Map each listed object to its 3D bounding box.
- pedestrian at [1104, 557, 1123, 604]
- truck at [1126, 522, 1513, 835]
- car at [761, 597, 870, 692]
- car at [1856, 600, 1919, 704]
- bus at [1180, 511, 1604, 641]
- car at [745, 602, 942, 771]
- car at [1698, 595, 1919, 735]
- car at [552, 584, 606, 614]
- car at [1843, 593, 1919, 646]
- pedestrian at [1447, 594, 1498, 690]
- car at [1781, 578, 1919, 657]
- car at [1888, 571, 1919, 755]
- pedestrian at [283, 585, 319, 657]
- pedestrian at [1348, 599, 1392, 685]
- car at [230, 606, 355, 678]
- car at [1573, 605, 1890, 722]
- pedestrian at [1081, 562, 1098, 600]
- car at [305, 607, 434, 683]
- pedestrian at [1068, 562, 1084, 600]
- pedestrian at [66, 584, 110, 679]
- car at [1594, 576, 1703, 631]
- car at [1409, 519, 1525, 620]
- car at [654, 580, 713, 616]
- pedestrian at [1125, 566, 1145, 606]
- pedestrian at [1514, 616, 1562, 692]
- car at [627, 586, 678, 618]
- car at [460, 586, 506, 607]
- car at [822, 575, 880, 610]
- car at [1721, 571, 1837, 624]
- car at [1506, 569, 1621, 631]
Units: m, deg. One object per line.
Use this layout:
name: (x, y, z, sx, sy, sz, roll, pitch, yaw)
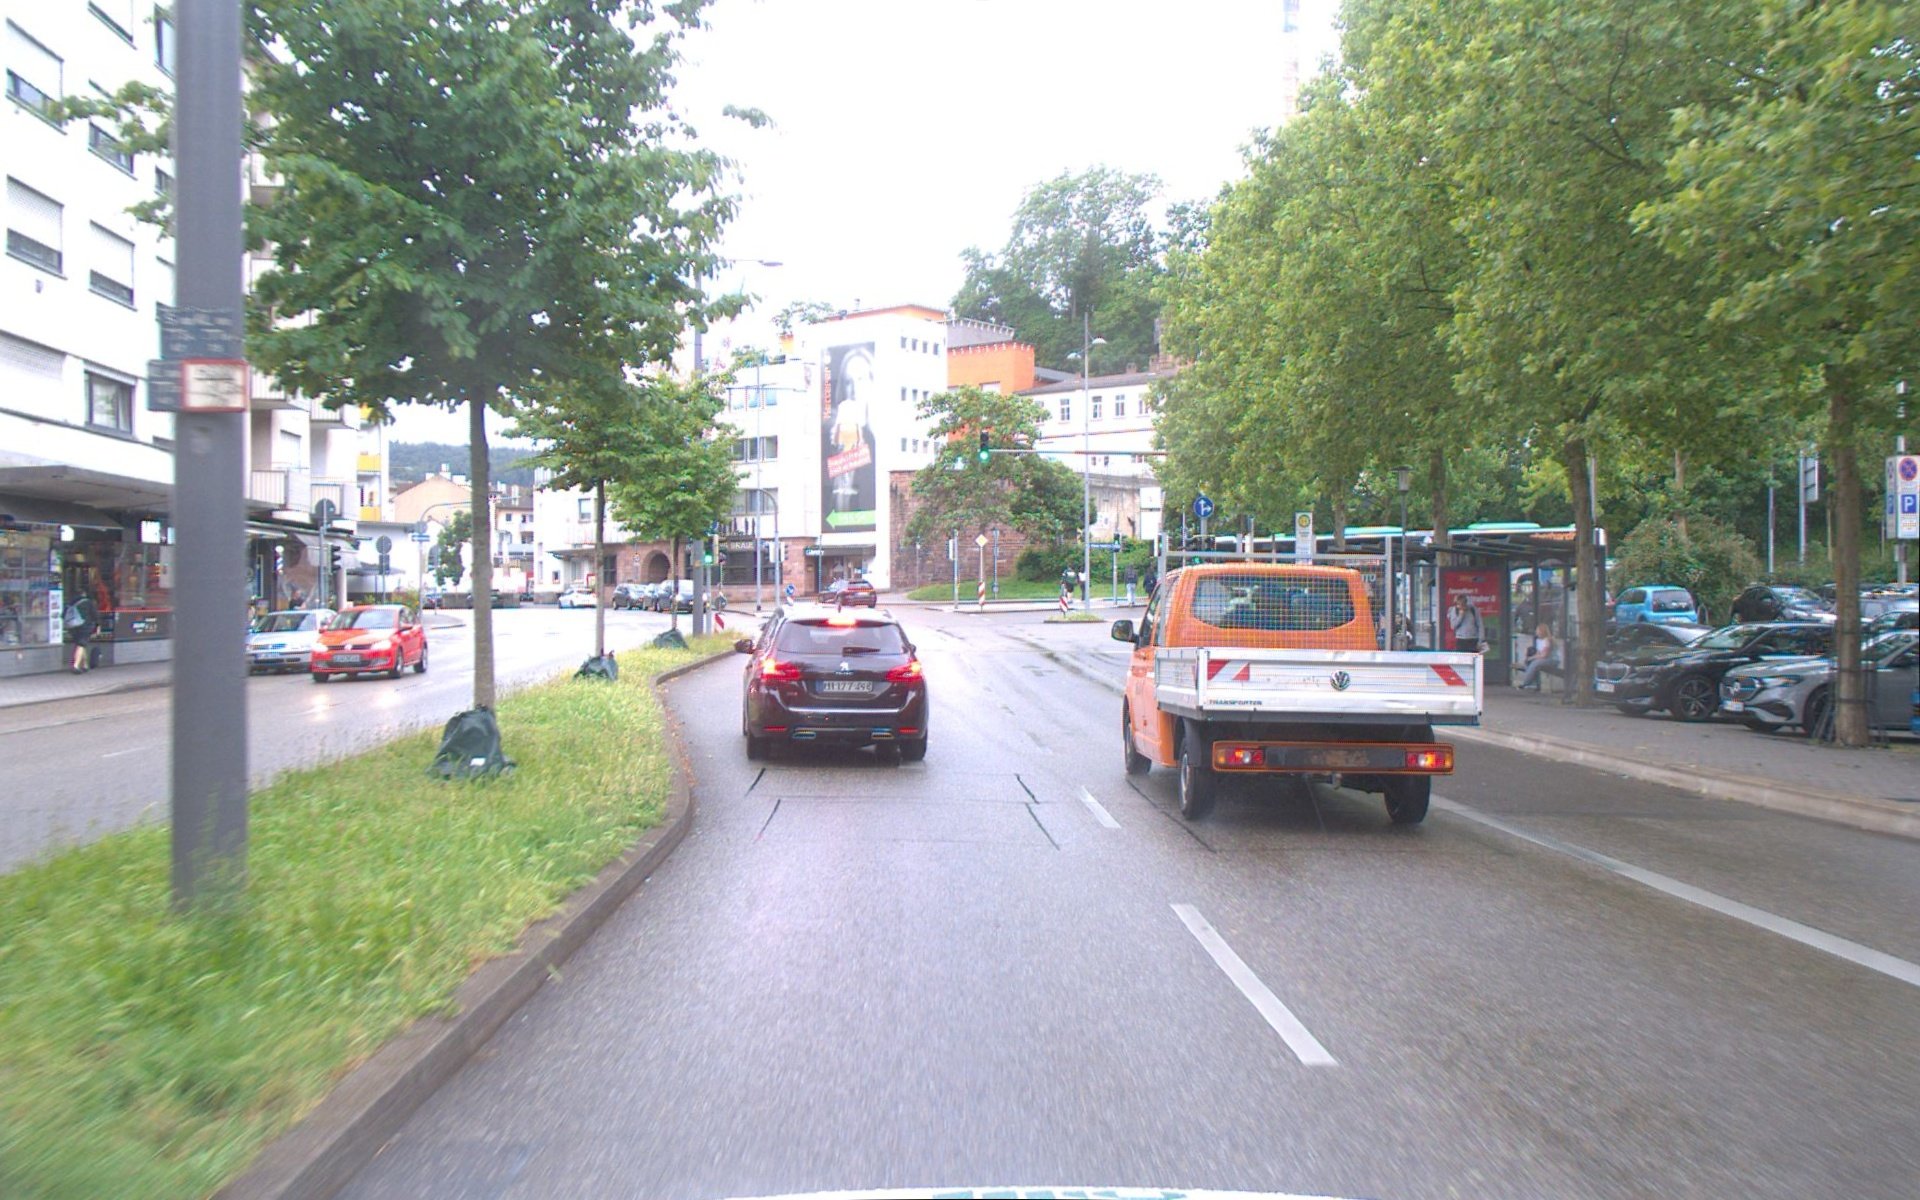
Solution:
pedestrian: (6.763, -0.876, 72.827, 0.704, 2.027, 0.562, -1, 2, -7)
truck: (2.630, 0.515, 13.379, 2.078, 2.060, 4.715, 1, 0, 0)
car: (-2.468, 0.723, 29.072, 1.759, 1.509, 3.998, -1, 0, -3)
car: (19.830, 1.055, 32.687, 1.867, 2.049, 3.718, 2, -2, -8)
bus: (18.459, -0.985, 71.211, 17.561, 5.302, 3.097, 0, 0, -3)
car: (-1.157, 0.802, 17.035, 1.759, 1.509, 3.997, 1, 0, -3)
car: (12.150, 0.859, 21.851, 3.907, 1.678, 1.916, 2, 0, -3)
car: (-25.662, -0.086, 111.339, 1.981, 1.982, 3.943, 1, 0, -39)
car: (29.597, 0.575, 51.915, 1.599, 1.595, 3.604, 0, 0, -5)
pedestrian: (9.433, 0.766, 30.441, 0.710, 1.730, 0.622, 1, 0, -4)
car: (22.013, 0.471, 40.227, 1.867, 1.767, 3.718, 2, -2, -8)
car: (12.225, 0.720, 17.323, 3.907, 1.958, 1.969, 1, 0, -3)
pedestrian: (-19.288, 0.623, 48.428, 0.721, 2.049, 0.648, 4, -3, -39)
pedestrian: (8.417, 0.854, 33.964, 0.710, 1.730, 0.622, 1, 0, -4)
car: (-15.316, 0.926, 38.140, 1.743, 1.552, 3.656, 0, 0, -7)
car: (11.472, 0.924, 24.747, 3.907, 1.535, 1.742, 2, 0, -3)
pedestrian: (5.898, -0.856, 75.172, 0.627, 1.693, 0.562, -1, 2, -7)
car: (-11.938, 0.872, 33.649, 1.658, 1.426, 3.656, 0, 0, -7)
pedestrian: (5.258, -0.850, 75.064, 0.627, 1.693, 0.562, -1, 2, -7)
pedestrian: (-17.573, 0.630, 33.344, 0.627, 1.893, 0.523, 1, 0, -8)
car: (21.457, 0.095, 51.658, 1.648, 1.646, 3.646, 1, 0, -5)
car: (15.871, -0.927, 52.011, 2.032, 3.022, 4.223, 1, 0, -5)
car: (-13.439, -0.077, 80.317, 1.628, 1.592, 3.563, 3, -3, -30)
pedestrian: (7.631, -0.626, 72.105, 0.704, 1.693, 0.562, -1, 2, -7)
pedestrian: (10.616, 0.985, 30.391, 0.608, 1.381, 0.726, 1, 0, -4)
car: (-16.483, 0.114, 88.482, 1.626, 1.592, 3.565, 3, -3, -29)
car: (-35.086, -0.247, 121.656, 3.536, 1.537, 1.590, 0, 0, 42)
car: (-5.403, -0.356, 81.587, 1.623, 1.592, 3.572, 3, -2, -24)
car: (25.266, -0.082, 51.129, 1.599, 1.595, 3.604, 0, 0, -5)
car: (18.830, 0.002, 51.797, 1.794, 1.858, 4.223, 1, 0, -5)
